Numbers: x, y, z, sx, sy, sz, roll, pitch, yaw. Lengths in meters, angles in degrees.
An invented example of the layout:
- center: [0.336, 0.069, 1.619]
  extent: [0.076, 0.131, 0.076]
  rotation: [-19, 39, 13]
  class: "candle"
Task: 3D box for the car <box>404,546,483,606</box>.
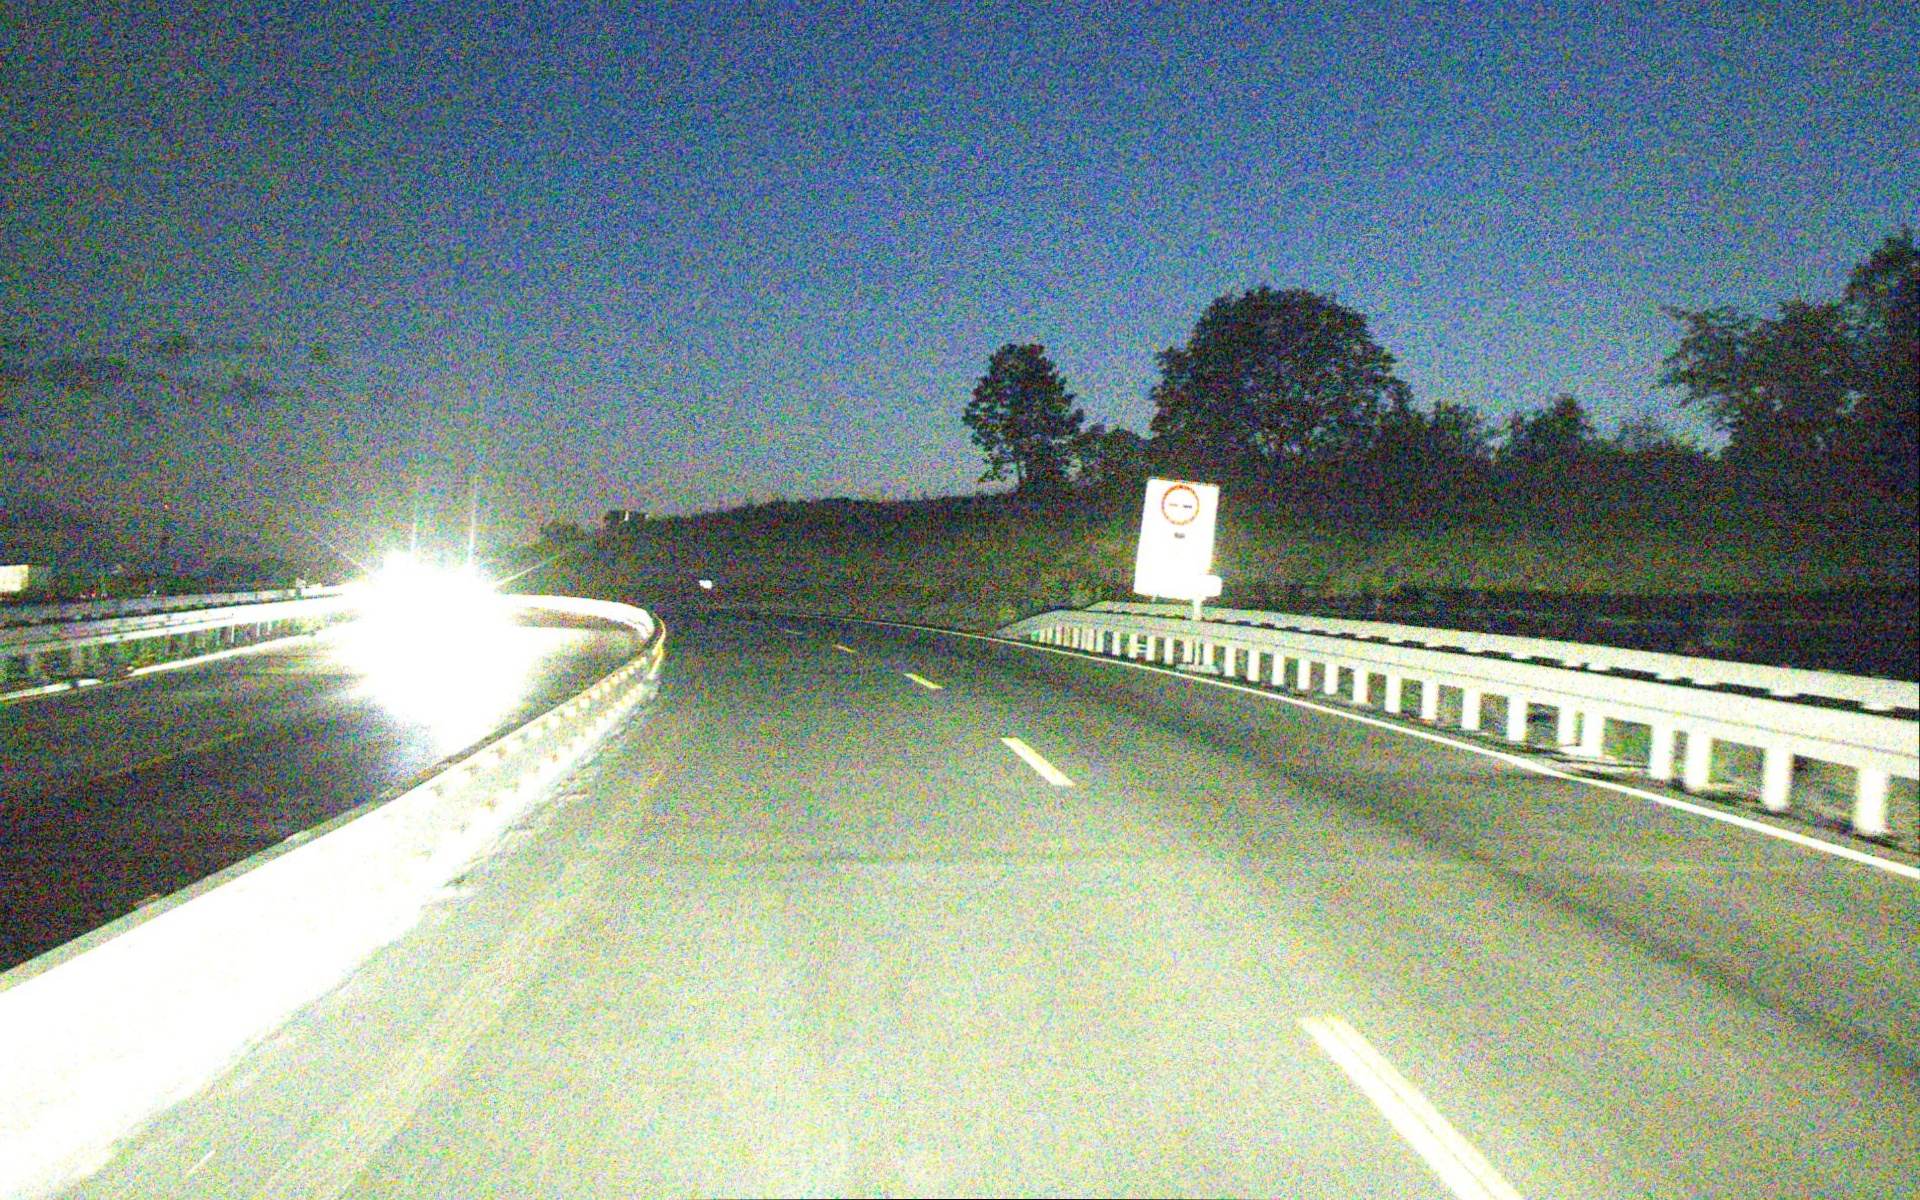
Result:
- center: [-12.963, -0.595, 86.406]
  extent: [1.712, 1.438, 4.488]
  rotation: [-1, 0, -6]
  class: "car"
